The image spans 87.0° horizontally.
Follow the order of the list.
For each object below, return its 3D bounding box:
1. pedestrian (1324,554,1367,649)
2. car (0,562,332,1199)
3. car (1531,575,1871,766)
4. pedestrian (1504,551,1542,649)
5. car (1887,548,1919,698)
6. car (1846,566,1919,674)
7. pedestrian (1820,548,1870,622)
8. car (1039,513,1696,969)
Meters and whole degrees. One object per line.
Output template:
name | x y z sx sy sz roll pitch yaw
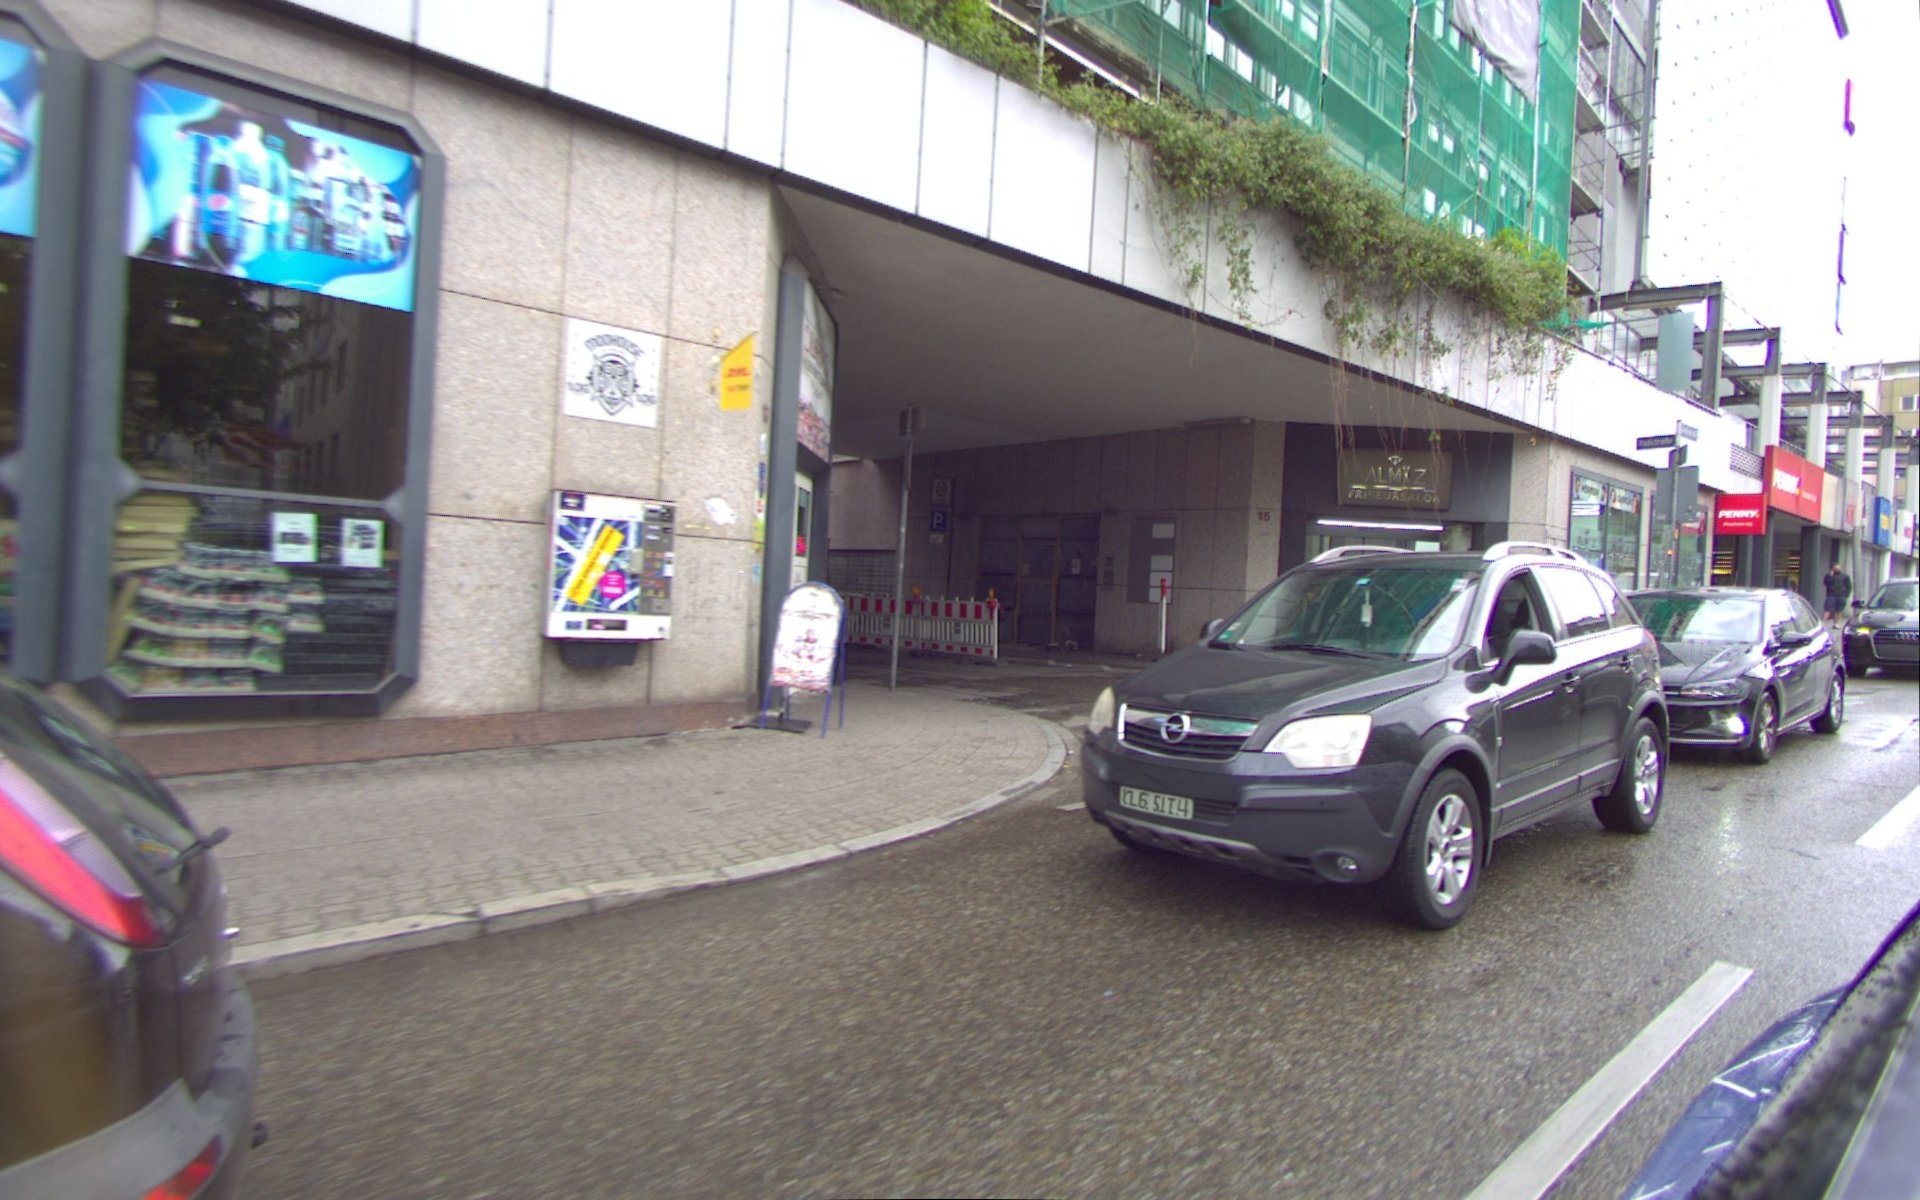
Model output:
pedestrian | 6.314 0.014 16.580 0.515 1.506 0.429 -1 3 -39
car | -2.865 0.615 1.001 3.563 1.459 1.595 3 0 -41
car | 7.113 0.501 9.609 3.708 1.448 1.682 -1 2 -38
pedestrian | 9.470 -0.018 17.021 0.457 1.616 0.403 -1 3 -42
car | 13.194 0.265 12.692 3.931 1.757 1.831 -2 4 -41
car | 15.846 0.251 16.191 3.927 1.604 1.777 -2 1 -38
pedestrian | 22.831 -0.404 26.118 0.630 1.798 0.708 -7 11 -39
car | 2.544 0.496 5.785 4.173 1.700 1.734 -1 1 -40
